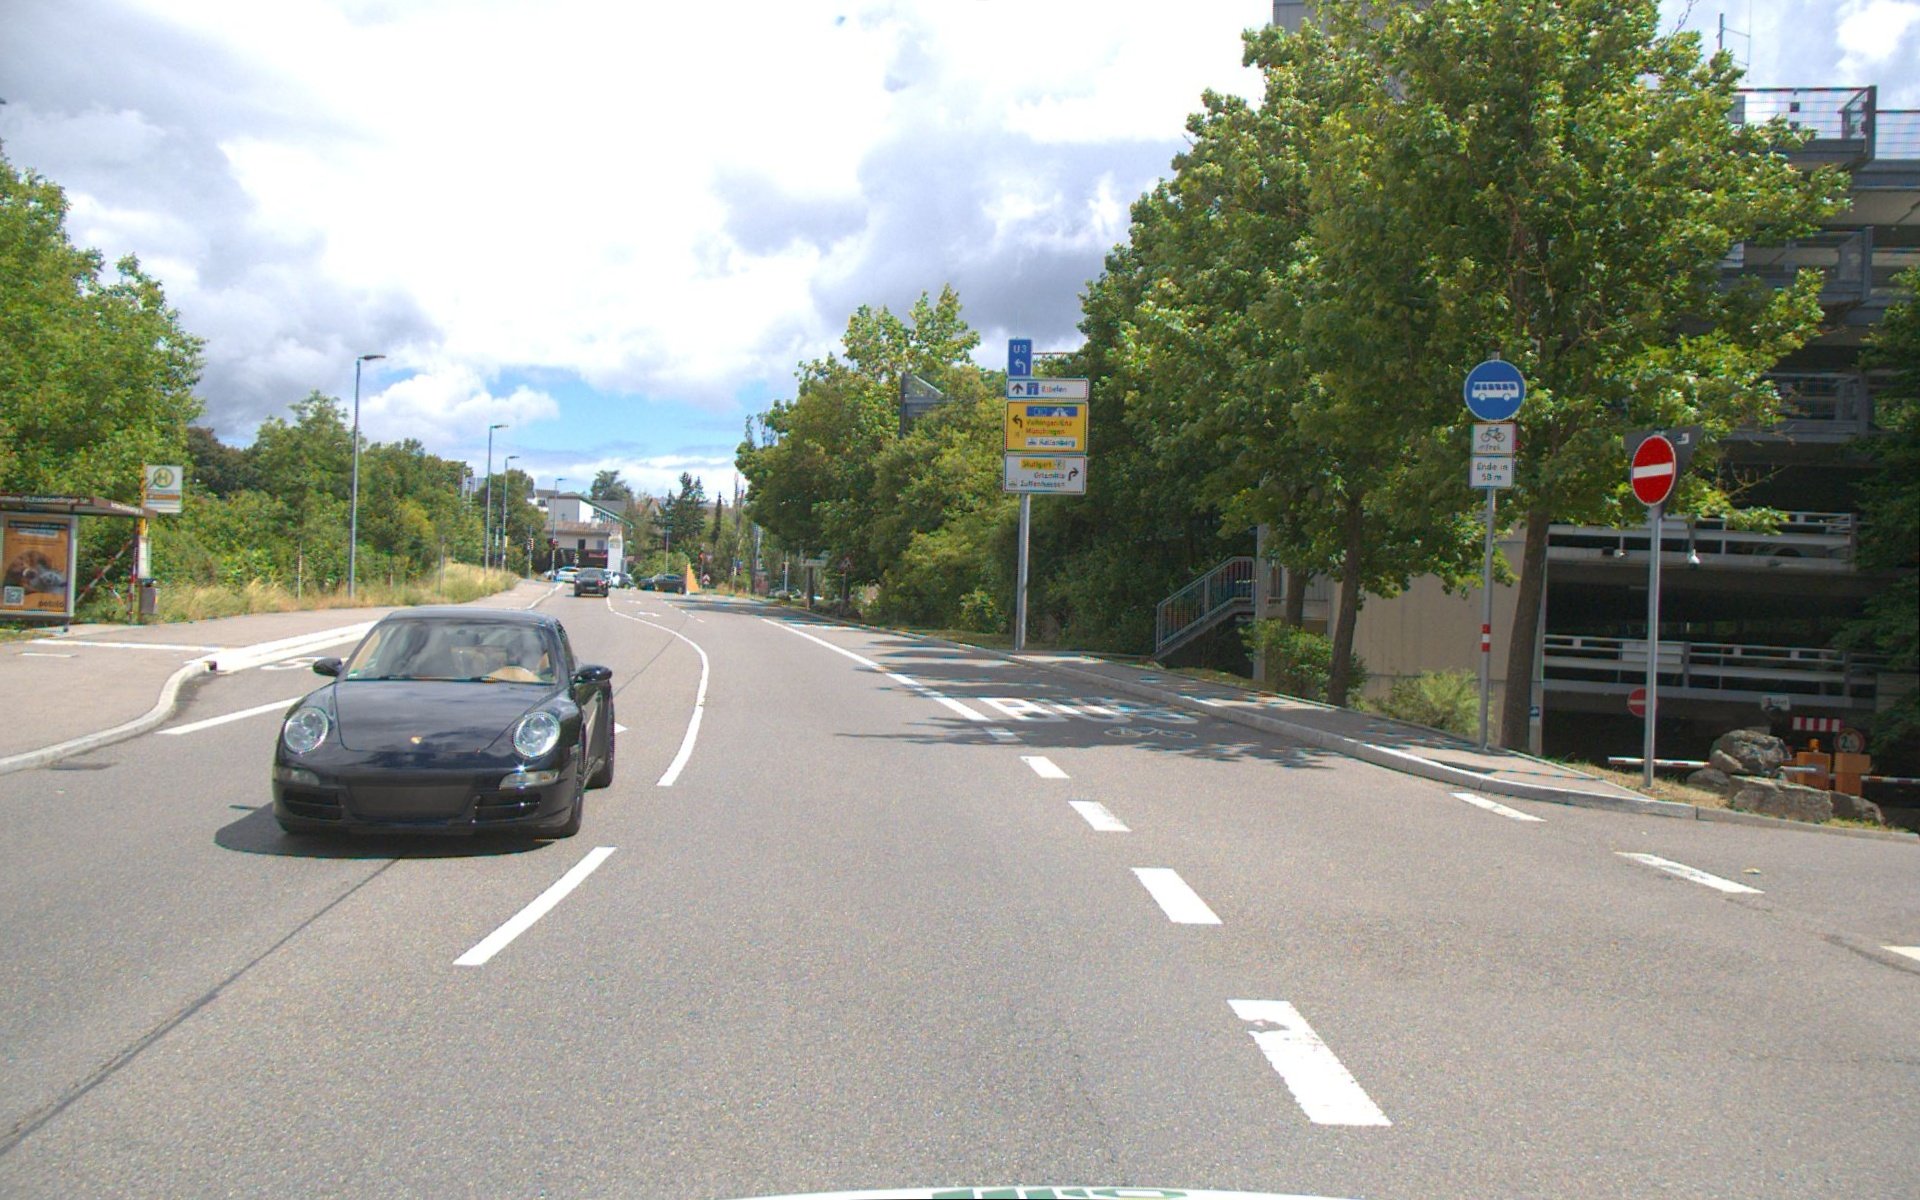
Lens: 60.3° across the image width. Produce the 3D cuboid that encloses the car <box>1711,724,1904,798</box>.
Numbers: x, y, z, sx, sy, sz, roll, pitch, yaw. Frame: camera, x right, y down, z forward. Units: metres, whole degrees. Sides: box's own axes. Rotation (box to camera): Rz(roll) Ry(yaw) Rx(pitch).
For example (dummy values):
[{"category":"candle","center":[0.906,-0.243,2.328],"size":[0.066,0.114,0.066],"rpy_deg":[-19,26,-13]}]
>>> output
[{"category":"car","center":[22.431,4.246,43.960],"size":[4.223,1.515,2.001],"rpy_deg":[2,0,16]}]

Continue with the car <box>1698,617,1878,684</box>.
[{"category":"car","center":[23.444,1.392,47.004],"size":[4.223,1.659,2.001],"rpy_deg":[2,0,16]}]

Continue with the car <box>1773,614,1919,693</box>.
[{"category":"car","center":[21.421,1.240,38.405],"size":[4.223,1.659,2.001],"rpy_deg":[2,0,16]}]

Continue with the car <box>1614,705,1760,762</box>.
[{"category":"car","center":[24.499,4.487,55.889],"size":[4.223,1.515,2.001],"rpy_deg":[2,0,16]}]

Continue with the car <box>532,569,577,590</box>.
[{"category":"car","center":[-38.250,-1.936,156.221],"size":[3.914,1.937,1.996],"rpy_deg":[1,0,-10]}]

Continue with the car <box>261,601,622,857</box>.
[{"category":"car","center":[-3.163,0.696,10.834],"size":[1.702,1.324,3.995],"rpy_deg":[1,0,-10]}]

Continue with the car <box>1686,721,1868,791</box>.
[{"category":"car","center":[22.703,4.312,46.133],"size":[4.223,1.515,2.001],"rpy_deg":[2,0,16]}]

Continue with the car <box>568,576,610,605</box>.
[{"category":"car","center":[-20.878,-0.550,92.954],"size":[1.795,1.584,4.603],"rpy_deg":[0,1,-20]}]

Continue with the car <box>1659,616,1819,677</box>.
[{"category":"car","center":[24.296,1.436,51.761],"size":[4.223,1.659,2.001],"rpy_deg":[2,0,16]}]

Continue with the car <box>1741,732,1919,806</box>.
[{"category":"car","center":[22.249,4.249,41.834],"size":[4.223,1.443,2.001],"rpy_deg":[2,0,16]}]

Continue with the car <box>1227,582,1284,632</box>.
[{"category":"car","center":[11.141,0.283,62.485],"size":[1.837,1.831,3.708],"rpy_deg":[0,-1,5]}]

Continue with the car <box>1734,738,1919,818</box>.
[{"category":"car","center":[20.777,4.200,39.083],"size":[4.223,1.443,2.001],"rpy_deg":[2,0,16]}]

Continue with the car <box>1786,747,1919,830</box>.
[{"category":"car","center":[20.586,4.154,36.128],"size":[4.223,1.443,2.001],"rpy_deg":[2,0,16]}]

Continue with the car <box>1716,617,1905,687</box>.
[{"category":"car","center":[23.027,1.376,44.946],"size":[4.223,1.659,2.001],"rpy_deg":[2,0,16]}]

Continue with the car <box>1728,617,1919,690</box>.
[{"category":"car","center":[22.456,1.358,42.957],"size":[4.223,1.659,2.001],"rpy_deg":[2,0,16]}]

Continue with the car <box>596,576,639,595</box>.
[{"category":"car","center":[-33.248,-1.386,160.653],"size":[3.910,1.742,1.892],"rpy_deg":[1,0,-6]}]

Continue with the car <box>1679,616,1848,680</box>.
[{"category":"car","center":[24.003,1.416,49.567],"size":[4.223,1.659,2.001],"rpy_deg":[2,0,16]}]

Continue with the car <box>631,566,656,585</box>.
[{"category":"car","center":[-28.669,-2.242,150.091],"size":[1.786,1.683,4.527],"rpy_deg":[1,1,-6]}]
